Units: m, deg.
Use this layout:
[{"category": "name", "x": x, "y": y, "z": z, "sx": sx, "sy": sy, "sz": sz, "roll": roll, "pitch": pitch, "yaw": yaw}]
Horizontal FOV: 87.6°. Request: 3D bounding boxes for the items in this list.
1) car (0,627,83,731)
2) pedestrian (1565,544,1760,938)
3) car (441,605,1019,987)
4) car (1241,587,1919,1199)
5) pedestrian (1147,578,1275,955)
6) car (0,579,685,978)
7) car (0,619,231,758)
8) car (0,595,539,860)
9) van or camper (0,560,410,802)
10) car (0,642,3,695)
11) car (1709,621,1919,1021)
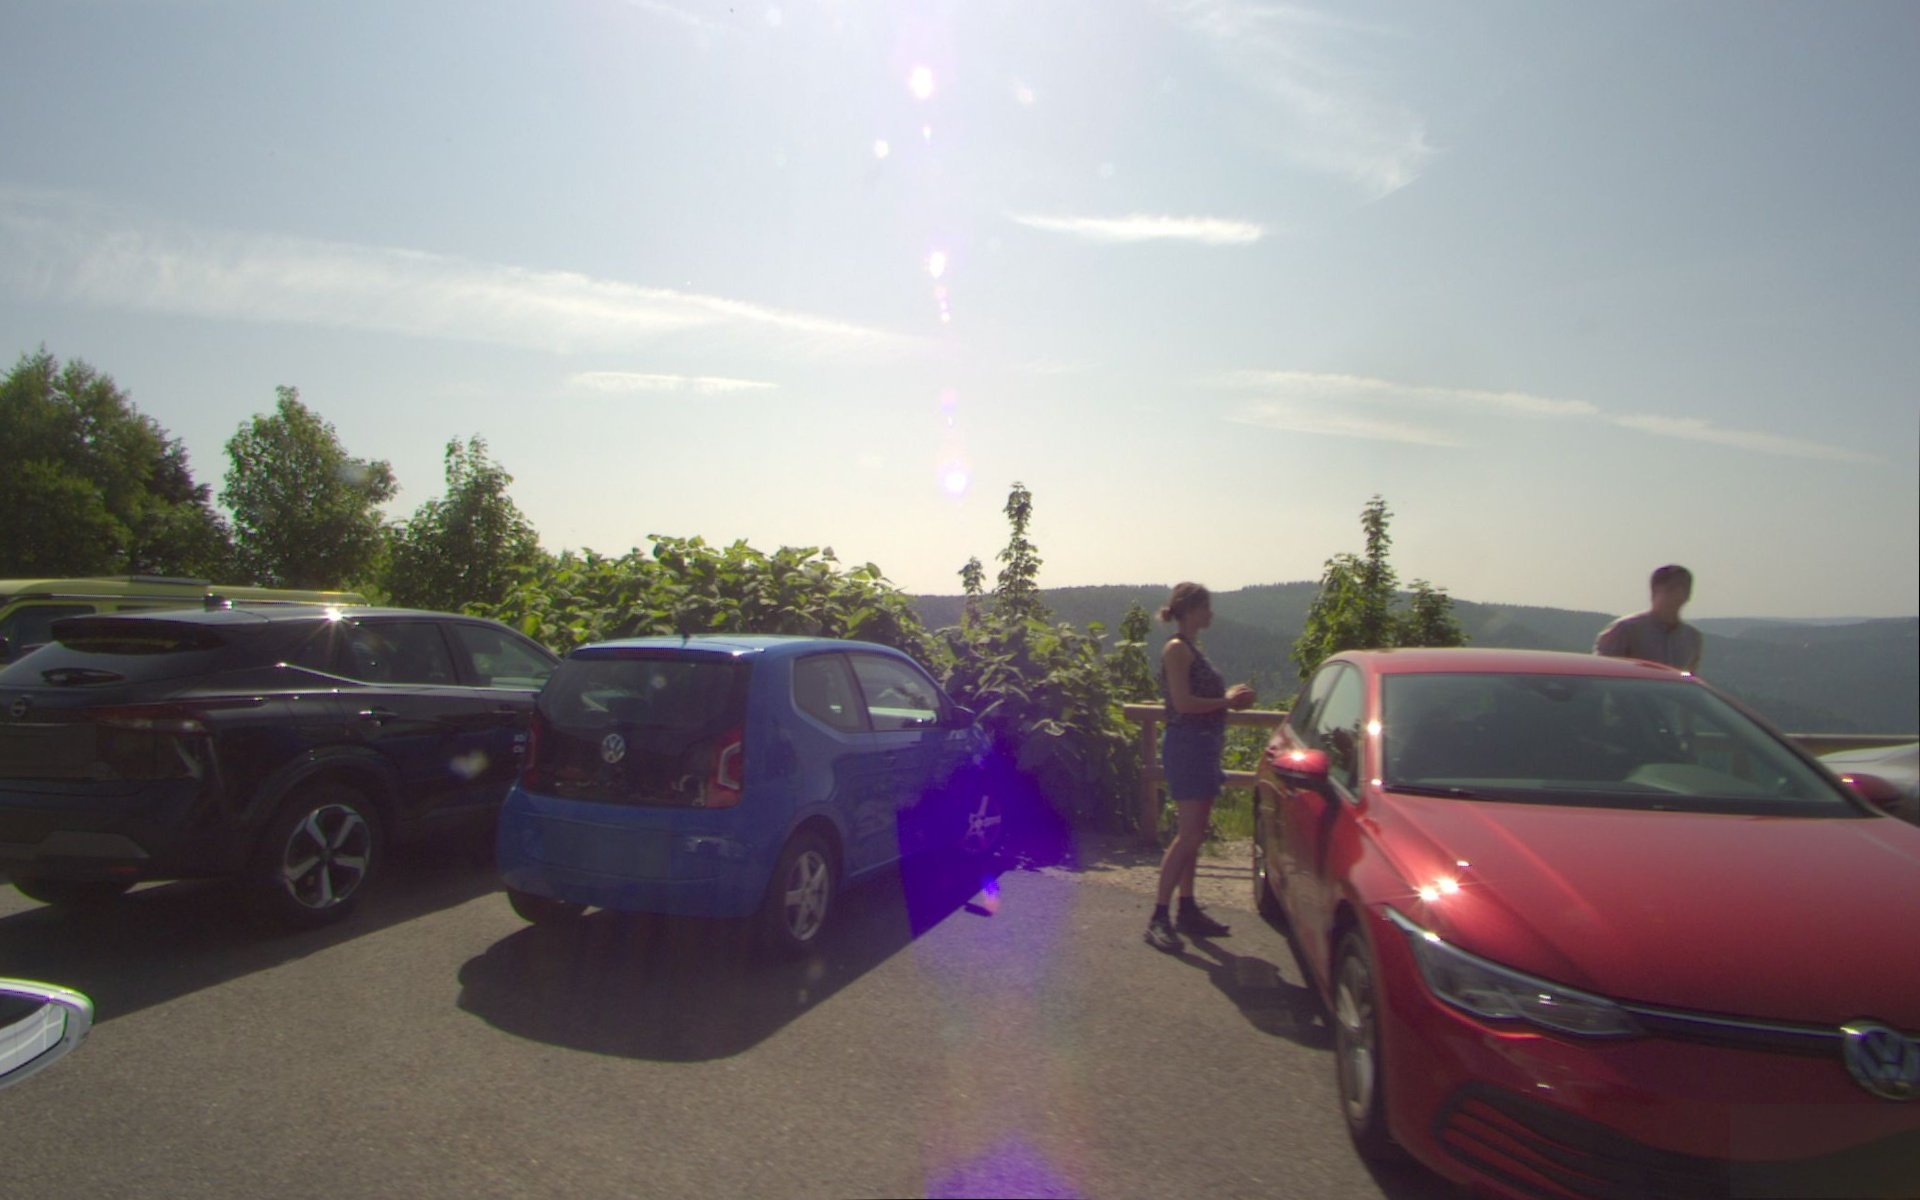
[{"category": "car", "x": -16.394, "y": 1.228, "z": 15.512, "sx": 1.855, "sy": 1.669, "sz": 4.190, "roll": 0, "pitch": -4, "yaw": 1}, {"category": "pedestrian", "x": 3.688, "y": 0.708, "z": 5.316, "sx": 0.667, "sy": 1.923, "sz": 0.610, "roll": 0, "pitch": -3, "yaw": 19}, {"category": "car", "x": -0.970, "y": 0.917, "z": 5.977, "sx": 1.620, "sy": 1.513, "sz": 3.588, "roll": -1, "pitch": -4, "yaw": 21}, {"category": "car", "x": 2.190, "y": 0.848, "z": 3.846, "sx": 1.807, "sy": 1.528, "sz": 4.001, "roll": 1, "pitch": -3, "yaw": 11}, {"category": "pedestrian", "x": 1.221, "y": 0.785, "z": 4.958, "sx": 0.556, "sy": 1.746, "sz": 0.505, "roll": 0, "pitch": -2, "yaw": 8}, {"category": "car", "x": -3.636, "y": 0.821, "z": 6.301, "sx": 1.881, "sy": 1.634, "sz": 3.998, "roll": 0, "pitch": -2, "yaw": 15}, {"category": "car", "x": -11.431, "y": 1.015, "z": 11.835, "sx": 1.780, "sy": 1.507, "sz": 4.357, "roll": 0, "pitch": 0, "yaw": 17}, {"category": "car", "x": -5.762, "y": 0.869, "z": 8.318, "sx": 1.676, "sy": 1.609, "sz": 4.155, "roll": 0, "pitch": -2, "yaw": 24}, {"category": "van or camper", "x": -8.469, "y": 0.776, "z": 10.062, "sx": 1.850, "sy": 2.038, "sz": 5.100, "roll": 0, "pitch": -4, "yaw": 22}, {"category": "car", "x": -19.722, "y": 1.437, "z": 17.875, "sx": 1.630, "sy": 1.476, "sz": 3.811, "roll": 0, "pitch": -4, "yaw": -2}, {"category": "car", "x": 4.618, "y": 0.847, "z": 3.102, "sx": 1.871, "sy": 1.588, "sz": 4.412, "roll": 1, "pitch": -3, "yaw": 10}]
